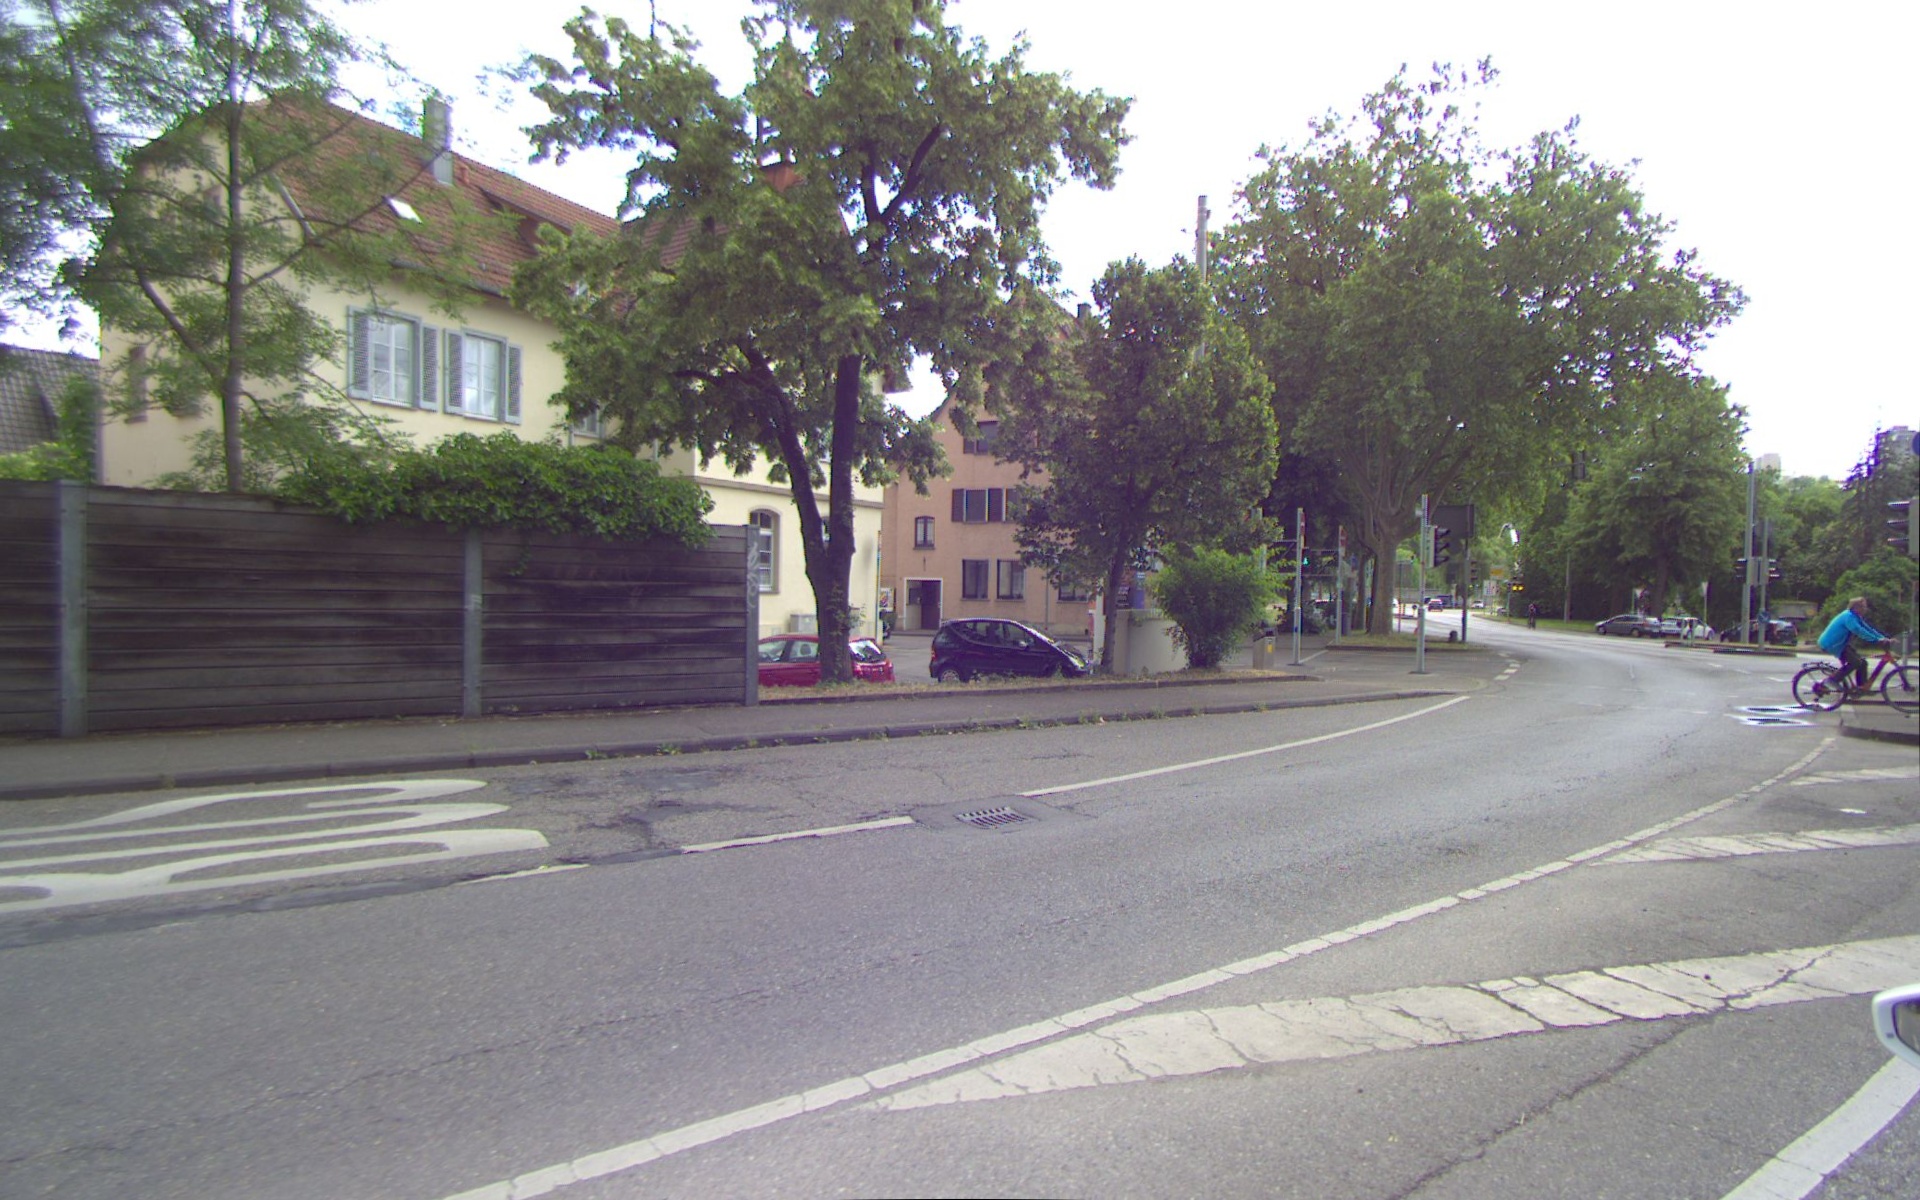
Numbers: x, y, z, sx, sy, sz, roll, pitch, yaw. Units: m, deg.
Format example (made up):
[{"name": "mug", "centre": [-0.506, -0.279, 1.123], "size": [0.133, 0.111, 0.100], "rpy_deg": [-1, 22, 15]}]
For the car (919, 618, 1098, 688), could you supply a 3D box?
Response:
[{"name": "car", "centre": [1.088, 1.129, 22.149], "size": [3.618, 1.392, 1.737], "rpy_deg": [1, -1, 17]}]

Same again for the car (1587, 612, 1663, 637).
[{"name": "car", "centre": [44.304, 1.619, 66.985], "size": [1.965, 1.595, 3.990], "rpy_deg": [1, -1, -13]}]

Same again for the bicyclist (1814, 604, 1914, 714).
[{"name": "bicyclist", "centre": [14.159, 0.892, 15.773], "size": [1.086, 1.621, 0.936], "rpy_deg": [2, 0, 40]}]

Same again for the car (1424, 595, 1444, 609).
[{"name": "car", "centre": [66.213, 0.287, 140.394], "size": [1.966, 1.907, 3.989], "rpy_deg": [0, -1, 34]}]

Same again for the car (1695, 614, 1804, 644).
[{"name": "car", "centre": [42.227, 1.532, 53.871], "size": [1.962, 1.537, 4.588], "rpy_deg": [1, -1, -6]}]

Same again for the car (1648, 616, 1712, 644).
[{"name": "car", "centre": [48.123, 1.991, 67.098], "size": [3.951, 1.795, 1.985], "rpy_deg": [1, -1, -29]}]

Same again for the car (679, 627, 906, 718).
[{"name": "car", "centre": [-3.005, 1.233, 18.116], "size": [3.684, 1.421, 1.736], "rpy_deg": [0, -1, 23]}]

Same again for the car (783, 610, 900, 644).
[{"name": "car", "centre": [-4.093, 0.928, 34.888], "size": [3.618, 1.118, 1.737], "rpy_deg": [1, -1, 17]}]

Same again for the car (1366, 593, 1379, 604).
[{"name": "car", "centre": [72.972, -0.253, 177.852], "size": [1.962, 1.907, 3.997], "rpy_deg": [0, -1, 24]}]

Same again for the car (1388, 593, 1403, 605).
[{"name": "car", "centre": [76.525, -0.183, 176.525], "size": [1.965, 1.907, 3.992], "rpy_deg": [0, -1, 31]}]

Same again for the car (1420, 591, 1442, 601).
[{"name": "car", "centre": [96.168, -0.808, 205.188], "size": [3.922, 2.040, 1.999], "rpy_deg": [0, -1, 22]}]

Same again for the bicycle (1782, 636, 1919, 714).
[{"name": "bicycle", "centre": [14.209, 1.157, 15.735], "size": [2.046, 1.096, 0.936], "rpy_deg": [2, 0, 40]}]

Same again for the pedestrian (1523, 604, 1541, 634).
[{"name": "pedestrian", "centre": [42.139, 1.402, 74.024], "size": [0.761, 2.207, 0.860], "rpy_deg": [1, 0, -3]}]
